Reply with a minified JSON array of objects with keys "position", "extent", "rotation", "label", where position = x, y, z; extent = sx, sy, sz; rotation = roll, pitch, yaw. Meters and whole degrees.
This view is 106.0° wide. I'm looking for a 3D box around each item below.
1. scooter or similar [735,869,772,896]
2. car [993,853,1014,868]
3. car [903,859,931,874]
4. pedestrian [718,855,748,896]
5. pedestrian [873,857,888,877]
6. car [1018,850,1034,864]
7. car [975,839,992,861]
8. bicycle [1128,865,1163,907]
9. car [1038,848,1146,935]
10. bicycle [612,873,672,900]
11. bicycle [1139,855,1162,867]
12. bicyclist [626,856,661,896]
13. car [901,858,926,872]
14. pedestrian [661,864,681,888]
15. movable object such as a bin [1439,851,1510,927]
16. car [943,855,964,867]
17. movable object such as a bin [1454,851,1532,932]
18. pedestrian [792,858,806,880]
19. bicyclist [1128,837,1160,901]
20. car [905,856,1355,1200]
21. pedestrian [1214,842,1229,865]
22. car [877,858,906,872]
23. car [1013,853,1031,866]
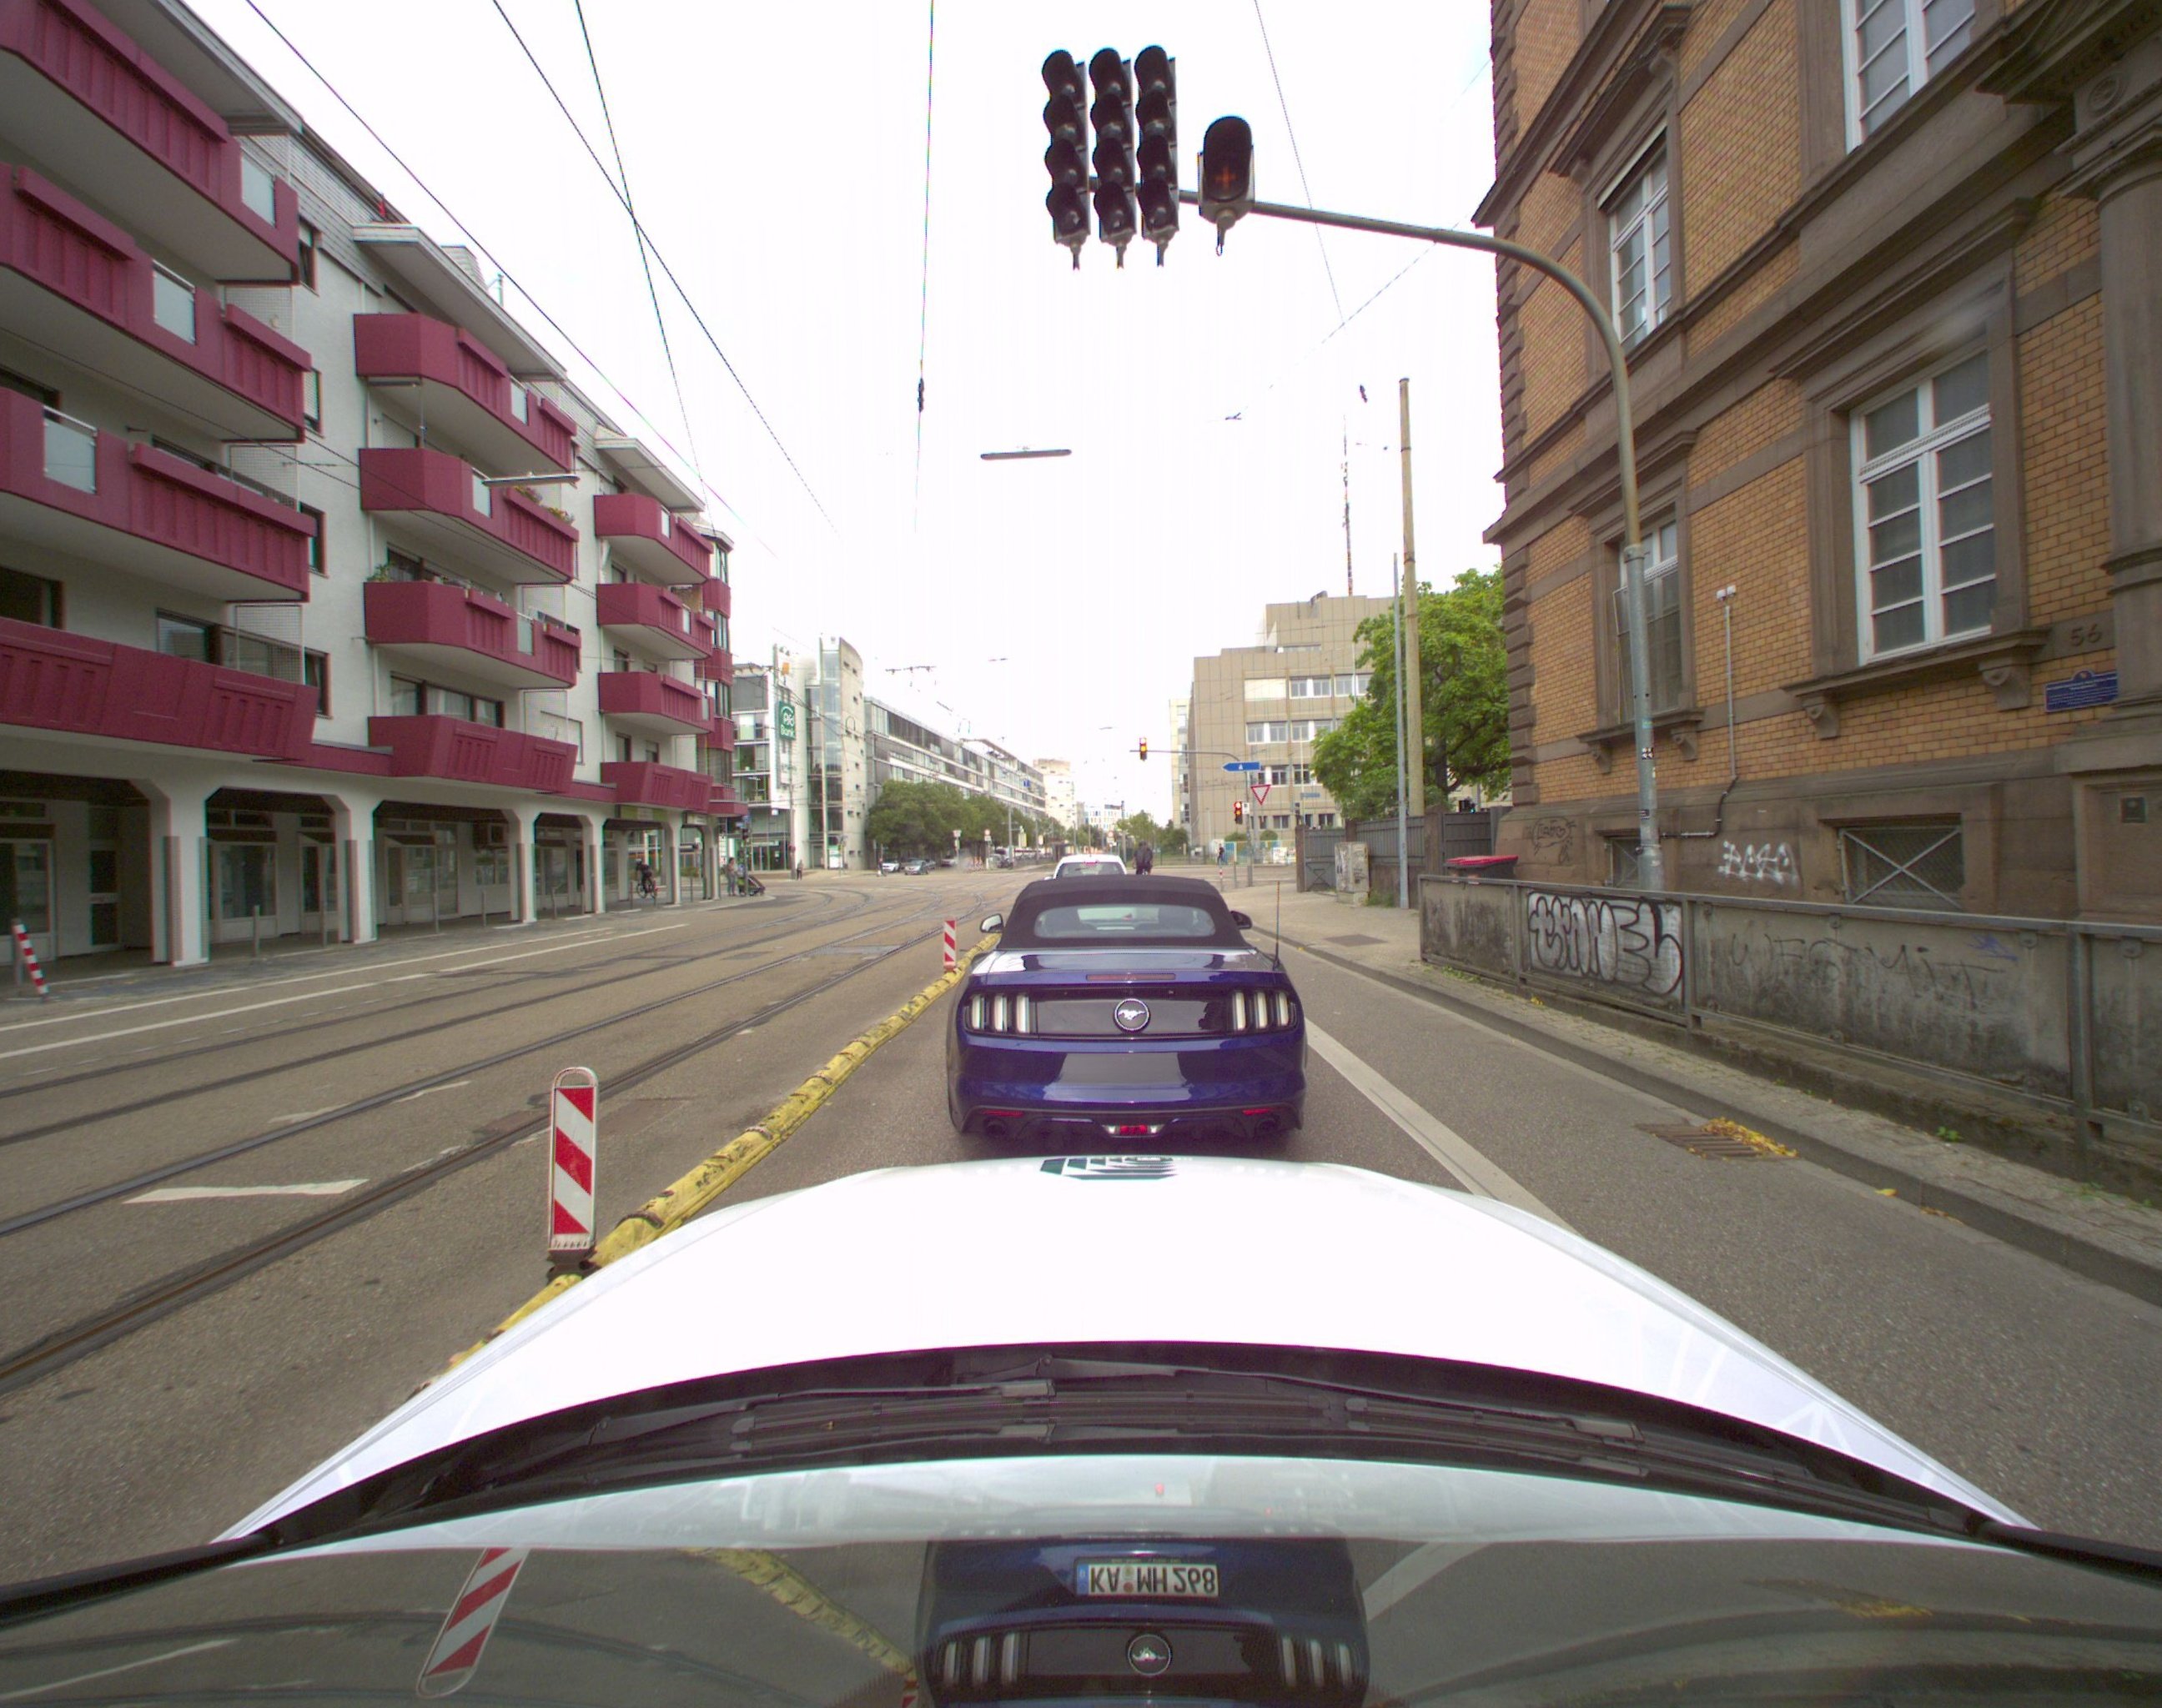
[{"position":[-14.334,1.243,35.686],"extent":[1.192,1.128,0.946],"rotation":[-1,0,-1],"label":"scooter or similar"},{"position":[-9.284,0.793,97.667],"extent":[1.872,1.628,4.089],"rotation":[-2,0,2],"label":"car"},{"position":[-16.787,1.253,83.616],"extent":[1.659,1.506,4.242],"rotation":[0,0,6],"label":"car"},{"position":[-15.228,0.941,35.635],"extent":[0.945,1.743,0.811],"rotation":[-2,0,-2],"label":"pedestrian"},{"position":[-19.080,1.265,77.559],"extent":[0.983,1.855,0.904],"rotation":[-2,0,8],"label":"pedestrian"},{"position":[-7.844,0.408,116.350],"extent":[1.778,1.987,4.123],"rotation":[-2,0,2],"label":"car"},{"position":[-16.225,-0.621,135.979],"extent":[1.978,3.636,4.516],"rotation":[0,0,3],"label":"car"},{"position":[1.829,0.898,23.377],"extent":[0.798,1.086,2.131],"rotation":[-2,0,0],"label":"bicycle"},{"position":[0.121,0.654,16.241],"extent":[1.831,1.439,4.183],"rotation":[-2,0,-2],"label":"car"},{"position":[-18.986,1.410,35.243],"extent":[2.337,1.086,0.768],"rotation":[-2,0,13],"label":"bicycle"},{"position":[6.186,0.638,72.746],"extent":[0.637,0.981,2.133],"rotation":[-2,-2,-40],"label":"bicycle"},{"position":[-18.933,0.954,35.227],"extent":[1.044,1.651,0.755],"rotation":[-2,0,13],"label":"bicyclist"},{"position":[-20.265,1.306,98.827],"extent":[1.820,1.556,4.223],"rotation":[0,0,6],"label":"car"},{"position":[-29.020,1.558,57.620],"extent":[0.928,1.671,0.769],"rotation":[-2,0,14],"label":"pedestrian"},{"position":[6.051,0.525,12.553],"extent":[0.649,1.082,0.677],"rotation":[-5,-1,-4],"label":"movable object such as a bin"},{"position":[-18.307,0.973,116.992],"extent":[1.978,1.556,4.516],"rotation":[0,0,3],"label":"car"},{"position":[5.970,0.537,11.838],"extent":[0.662,1.082,0.700],"rotation":[-5,-1,-3],"label":"movable object such as a bin"},{"position":[-25.277,1.346,72.974],"extent":[0.828,1.865,0.769],"rotation":[-2,0,14],"label":"pedestrian"},{"position":[1.811,0.412,23.550],"extent":[0.793,1.785,1.233],"rotation":[-2,0,0],"label":"bicyclist"},{"position":[0.282,0.739,5.548],"extent":[1.869,1.404,4.284],"rotation":[-1,0,2],"label":"car"},{"position":[11.892,-0.066,68.960],"extent":[1.080,1.898,0.904],"rotation":[-2,0,7],"label":"pedestrian"},{"position":[-21.295,1.199,91.713],"extent":[1.820,1.556,4.223],"rotation":[0,0,6],"label":"car"},{"position":[-8.019,0.702,111.182],"extent":[1.861,1.605,4.214],"rotation":[-2,0,2],"label":"car"}]
